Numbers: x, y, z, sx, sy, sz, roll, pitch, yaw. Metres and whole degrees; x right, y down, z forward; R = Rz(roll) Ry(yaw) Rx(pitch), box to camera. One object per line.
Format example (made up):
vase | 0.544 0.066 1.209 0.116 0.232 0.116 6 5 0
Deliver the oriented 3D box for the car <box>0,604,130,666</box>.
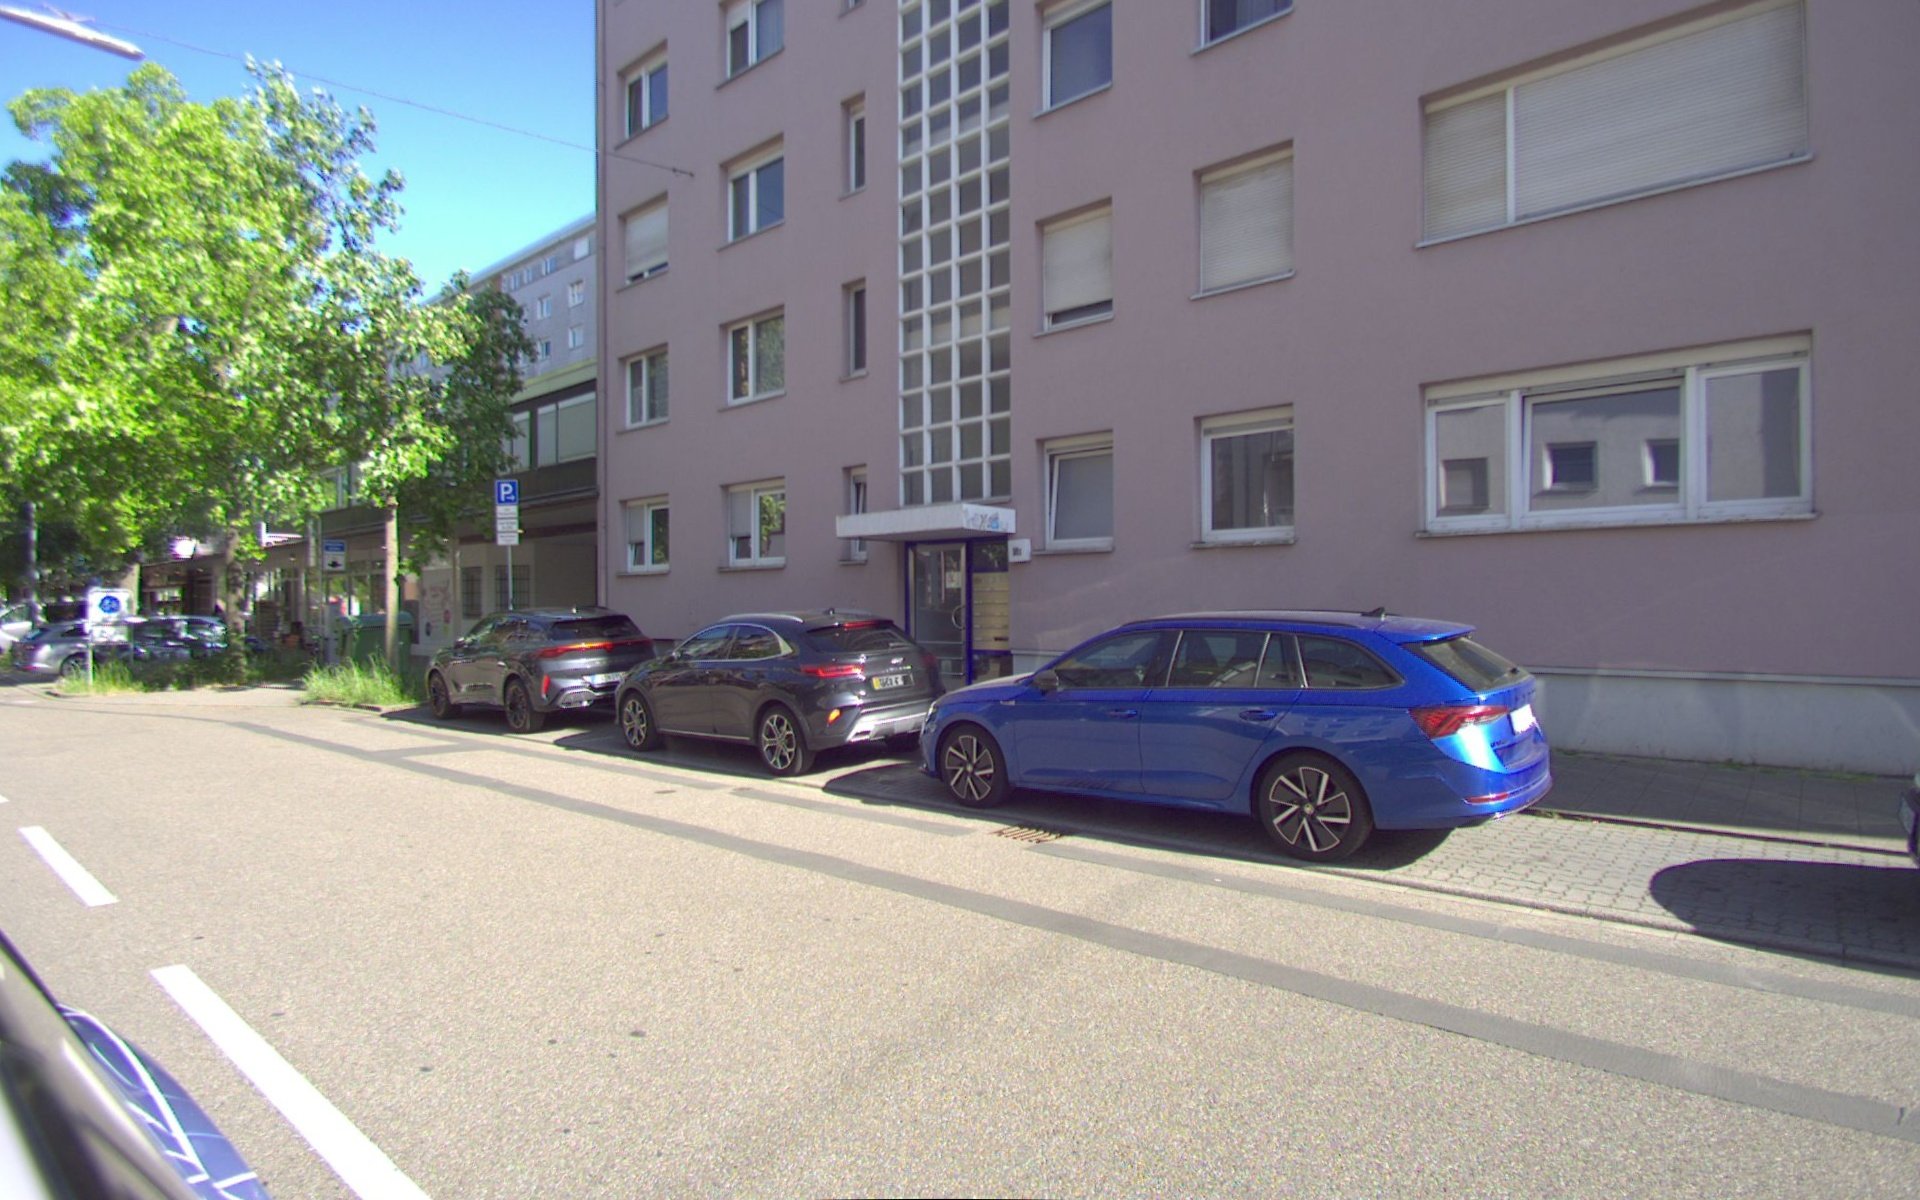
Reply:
car | -31.281 1.166 34.830 1.999 2.047 3.945 -1 -1 41

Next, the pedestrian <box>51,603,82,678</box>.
pedestrian | -24.608 1.109 27.873 0.753 2.029 0.558 -2 -1 44

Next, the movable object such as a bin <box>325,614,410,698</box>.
movable object such as a bin | -11.573 1.063 19.777 1.230 1.557 1.019 0 -1 -44

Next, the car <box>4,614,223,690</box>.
car | -20.969 1.225 25.172 1.999 1.687 3.945 -1 -1 41

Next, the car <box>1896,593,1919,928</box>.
car | 6.310 0.686 3.204 4.812 1.476 1.700 -1 1 41

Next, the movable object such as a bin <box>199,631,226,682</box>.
movable object such as a bin | -18.485 1.380 25.027 0.409 1.234 0.482 -1 -1 41

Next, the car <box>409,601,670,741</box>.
car | -6.050 0.893 14.335 4.141 1.604 1.798 -1 2 43

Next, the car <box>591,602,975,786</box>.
car | -2.029 0.840 10.789 4.245 1.519 1.798 -1 1 43

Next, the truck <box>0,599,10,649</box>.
truck | -52.313 1.243 51.625 1.993 2.615 5.266 -1 -1 31

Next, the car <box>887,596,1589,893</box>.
car | 1.713 0.774 7.329 4.610 1.477 1.699 -1 0 41
